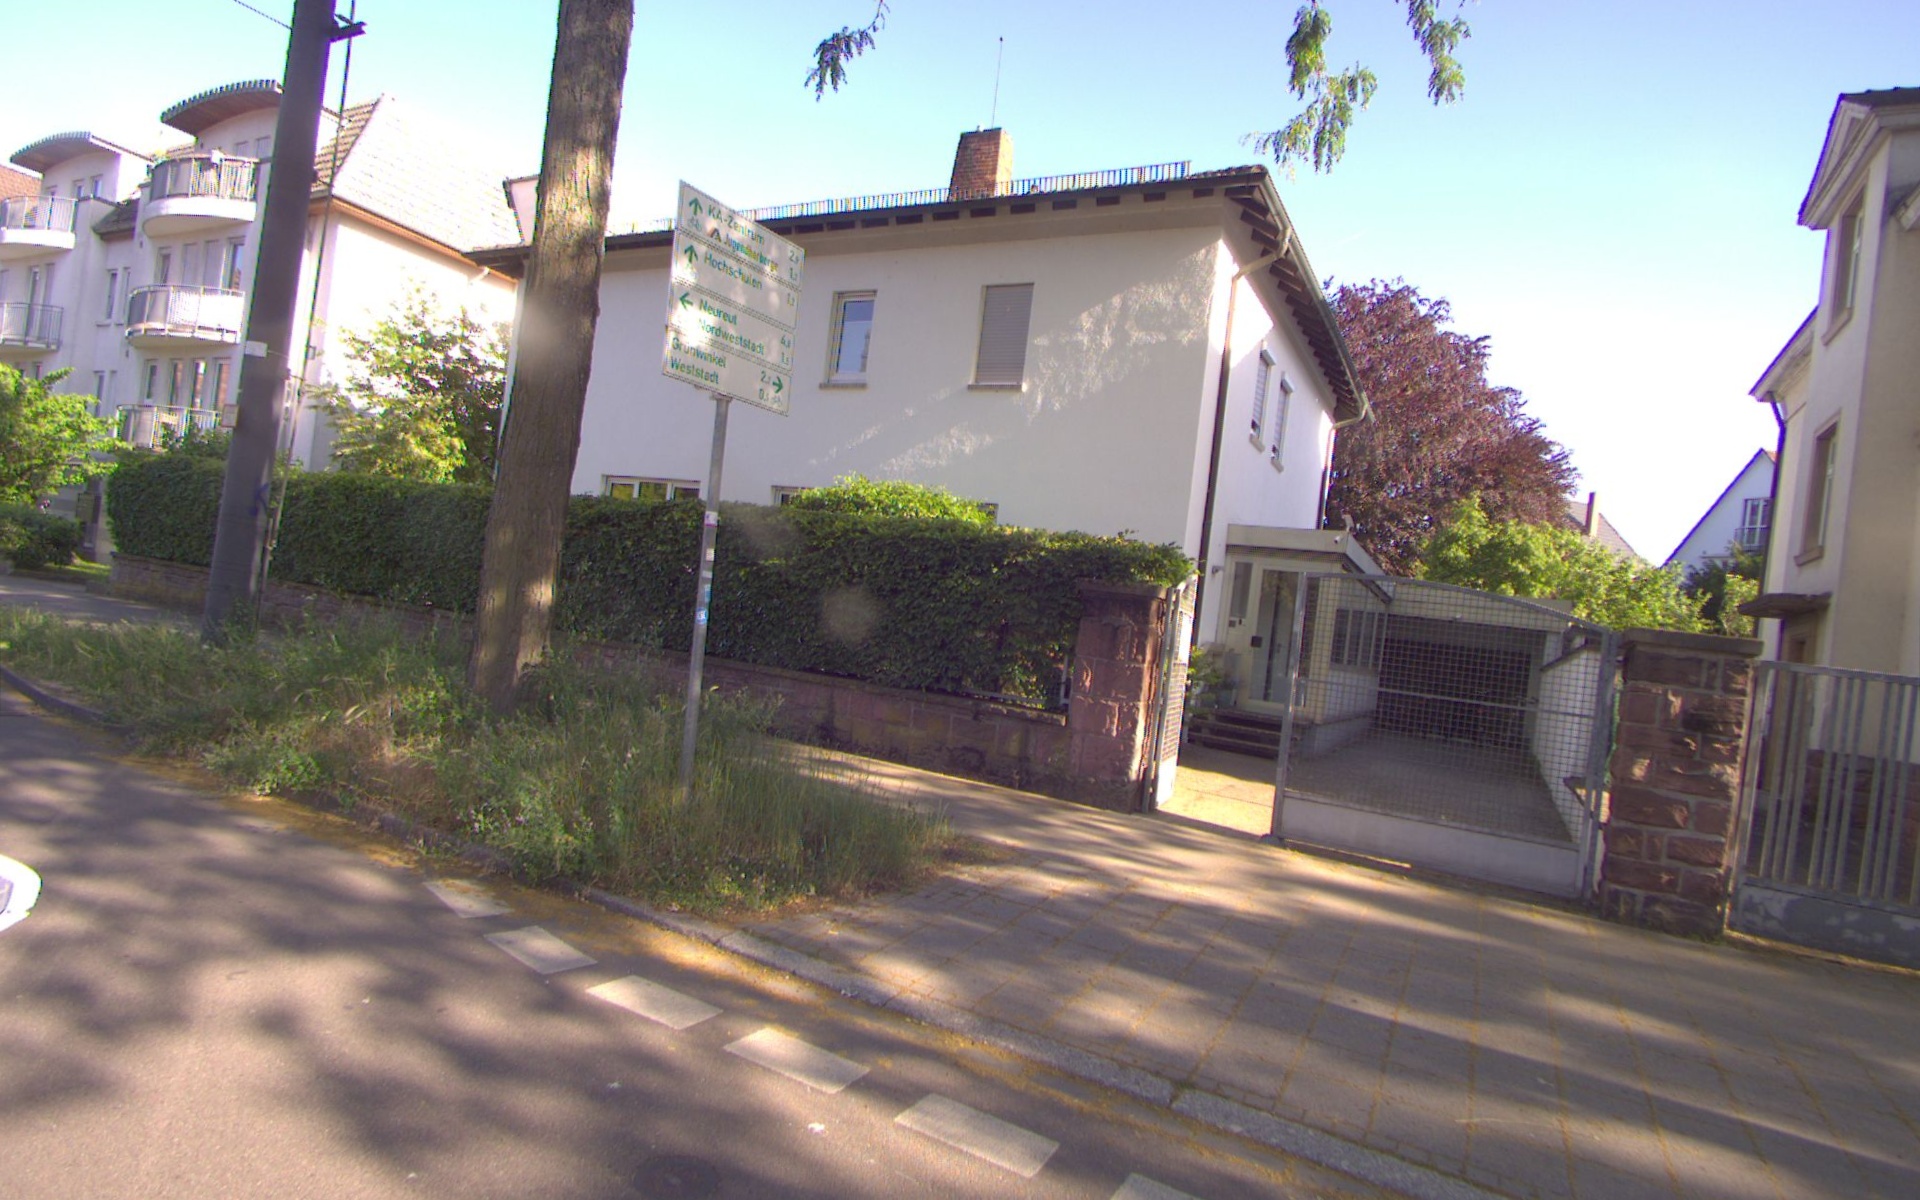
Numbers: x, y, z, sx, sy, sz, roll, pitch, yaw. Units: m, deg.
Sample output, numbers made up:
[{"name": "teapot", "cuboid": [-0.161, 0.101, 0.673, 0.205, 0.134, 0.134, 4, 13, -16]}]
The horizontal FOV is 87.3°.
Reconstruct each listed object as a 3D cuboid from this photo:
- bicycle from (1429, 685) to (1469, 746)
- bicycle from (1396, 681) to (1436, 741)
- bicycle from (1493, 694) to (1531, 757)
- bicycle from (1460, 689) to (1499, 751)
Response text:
[{"name": "bicycle", "cuboid": [10.006, 2.360, 20.567, 0.512, 1.135, 1.465, 7, -2, 30]}, {"name": "bicycle", "cuboid": [9.496, 2.306, 20.931, 0.512, 1.135, 1.465, 7, -2, 30]}, {"name": "bicycle", "cuboid": [10.929, 2.477, 19.899, 0.512, 1.135, 1.465, 7, -2, 30]}, {"name": "bicycle", "cuboid": [10.483, 2.411, 20.269, 0.512, 1.135, 1.465, 7, -2, 30]}]
